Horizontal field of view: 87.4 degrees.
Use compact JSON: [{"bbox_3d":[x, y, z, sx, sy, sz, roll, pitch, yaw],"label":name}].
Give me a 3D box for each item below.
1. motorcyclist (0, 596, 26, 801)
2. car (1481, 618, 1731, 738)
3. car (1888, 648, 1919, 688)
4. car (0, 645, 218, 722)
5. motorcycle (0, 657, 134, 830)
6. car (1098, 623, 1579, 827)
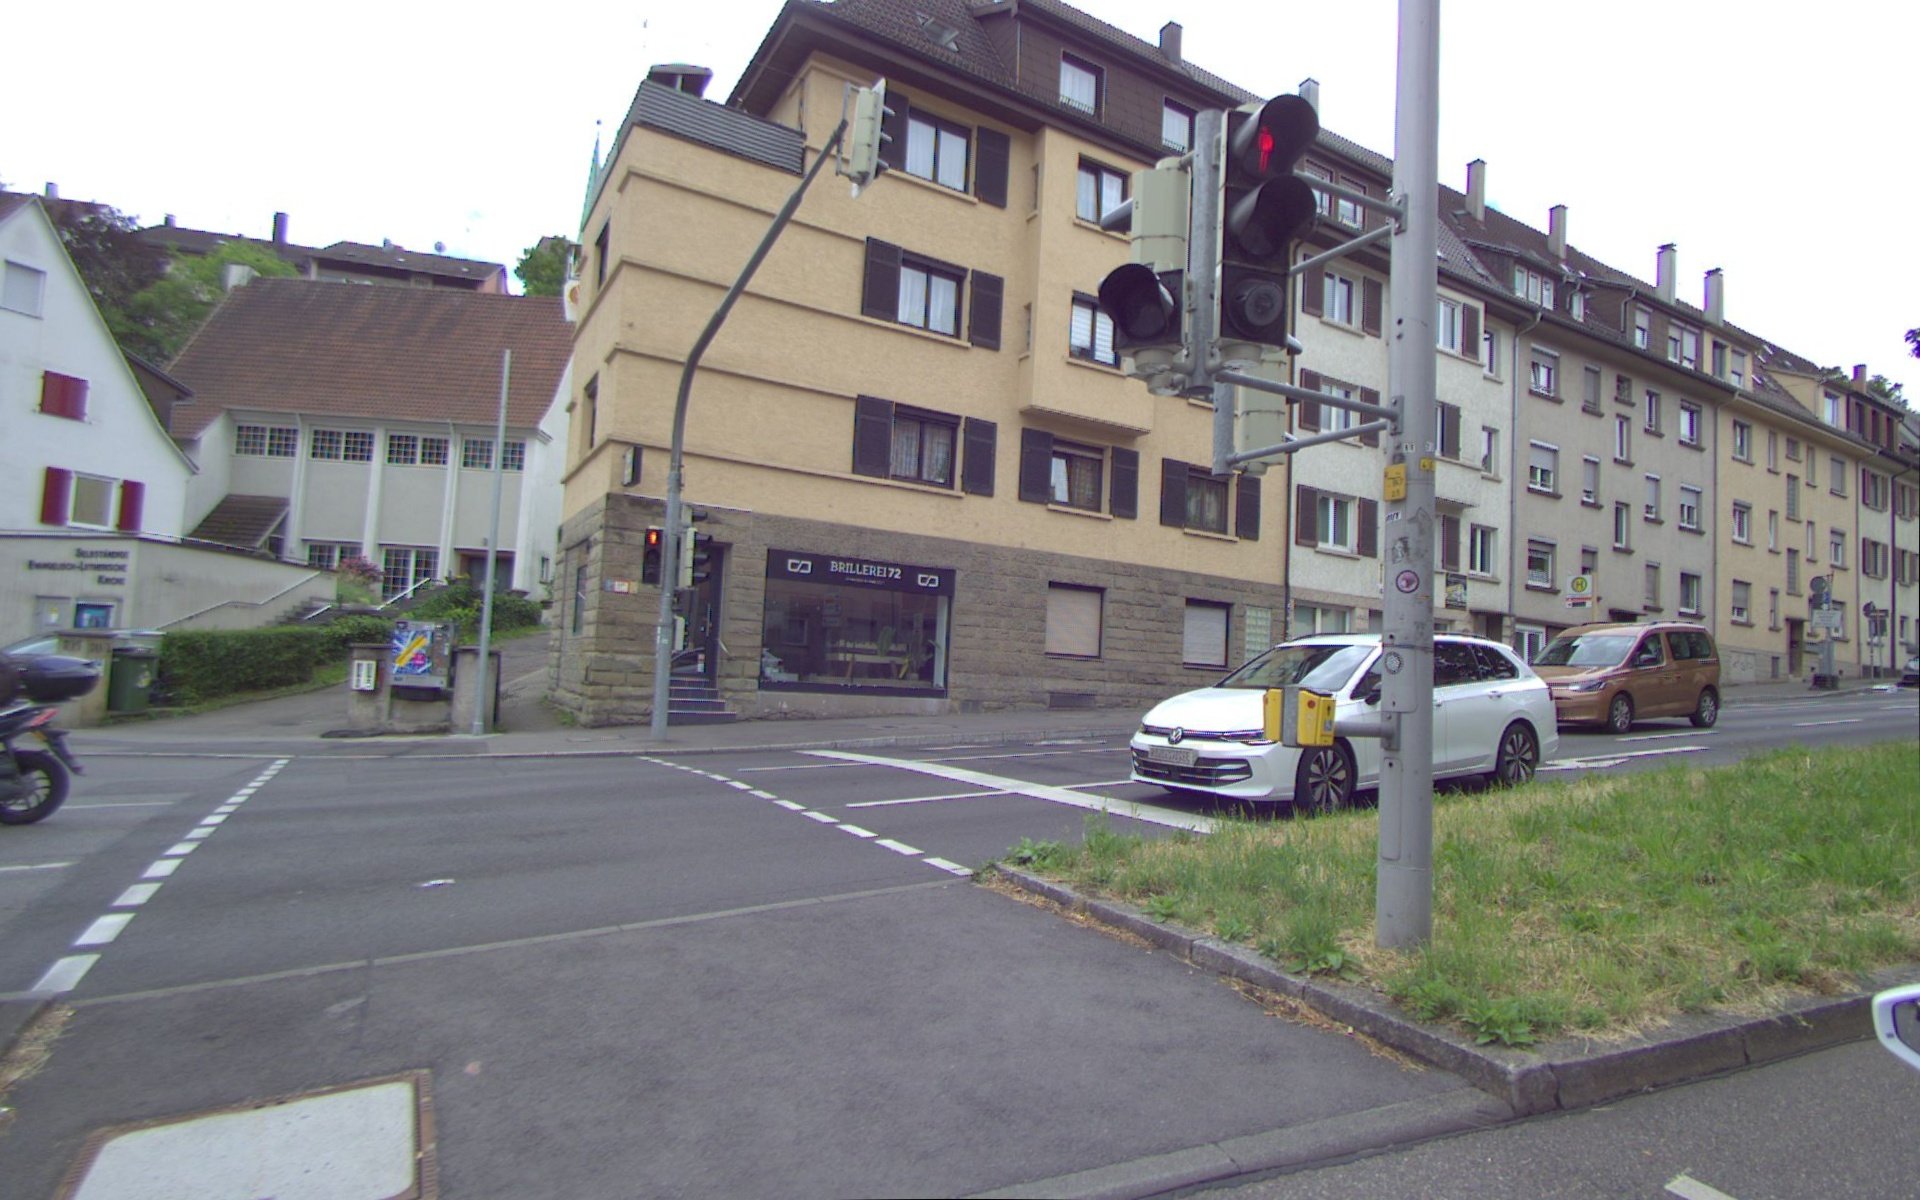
[{"bbox_3d":[-7.247,0.705,7.149,0.654,1.494,0.670,3,-3,-29],"label":"motorcyclist"},{"bbox_3d":[11.188,1.264,17.354,4.299,1.840,1.871,1,-2,-30],"label":"car"},{"bbox_3d":[40.001,2.783,41.040,4.111,1.572,1.984,3,-4,-31],"label":"car"},{"bbox_3d":[-16.477,1.490,18.897,1.799,1.205,4.003,2,-2,4],"label":"car"},{"bbox_3d":[-7.326,1.003,7.095,2.178,1.200,0.542,3,-3,-29],"label":"motorcycle"},{"bbox_3d":[3.586,1.021,9.266,4.533,1.486,1.737,2,-3,-31],"label":"car"}]
